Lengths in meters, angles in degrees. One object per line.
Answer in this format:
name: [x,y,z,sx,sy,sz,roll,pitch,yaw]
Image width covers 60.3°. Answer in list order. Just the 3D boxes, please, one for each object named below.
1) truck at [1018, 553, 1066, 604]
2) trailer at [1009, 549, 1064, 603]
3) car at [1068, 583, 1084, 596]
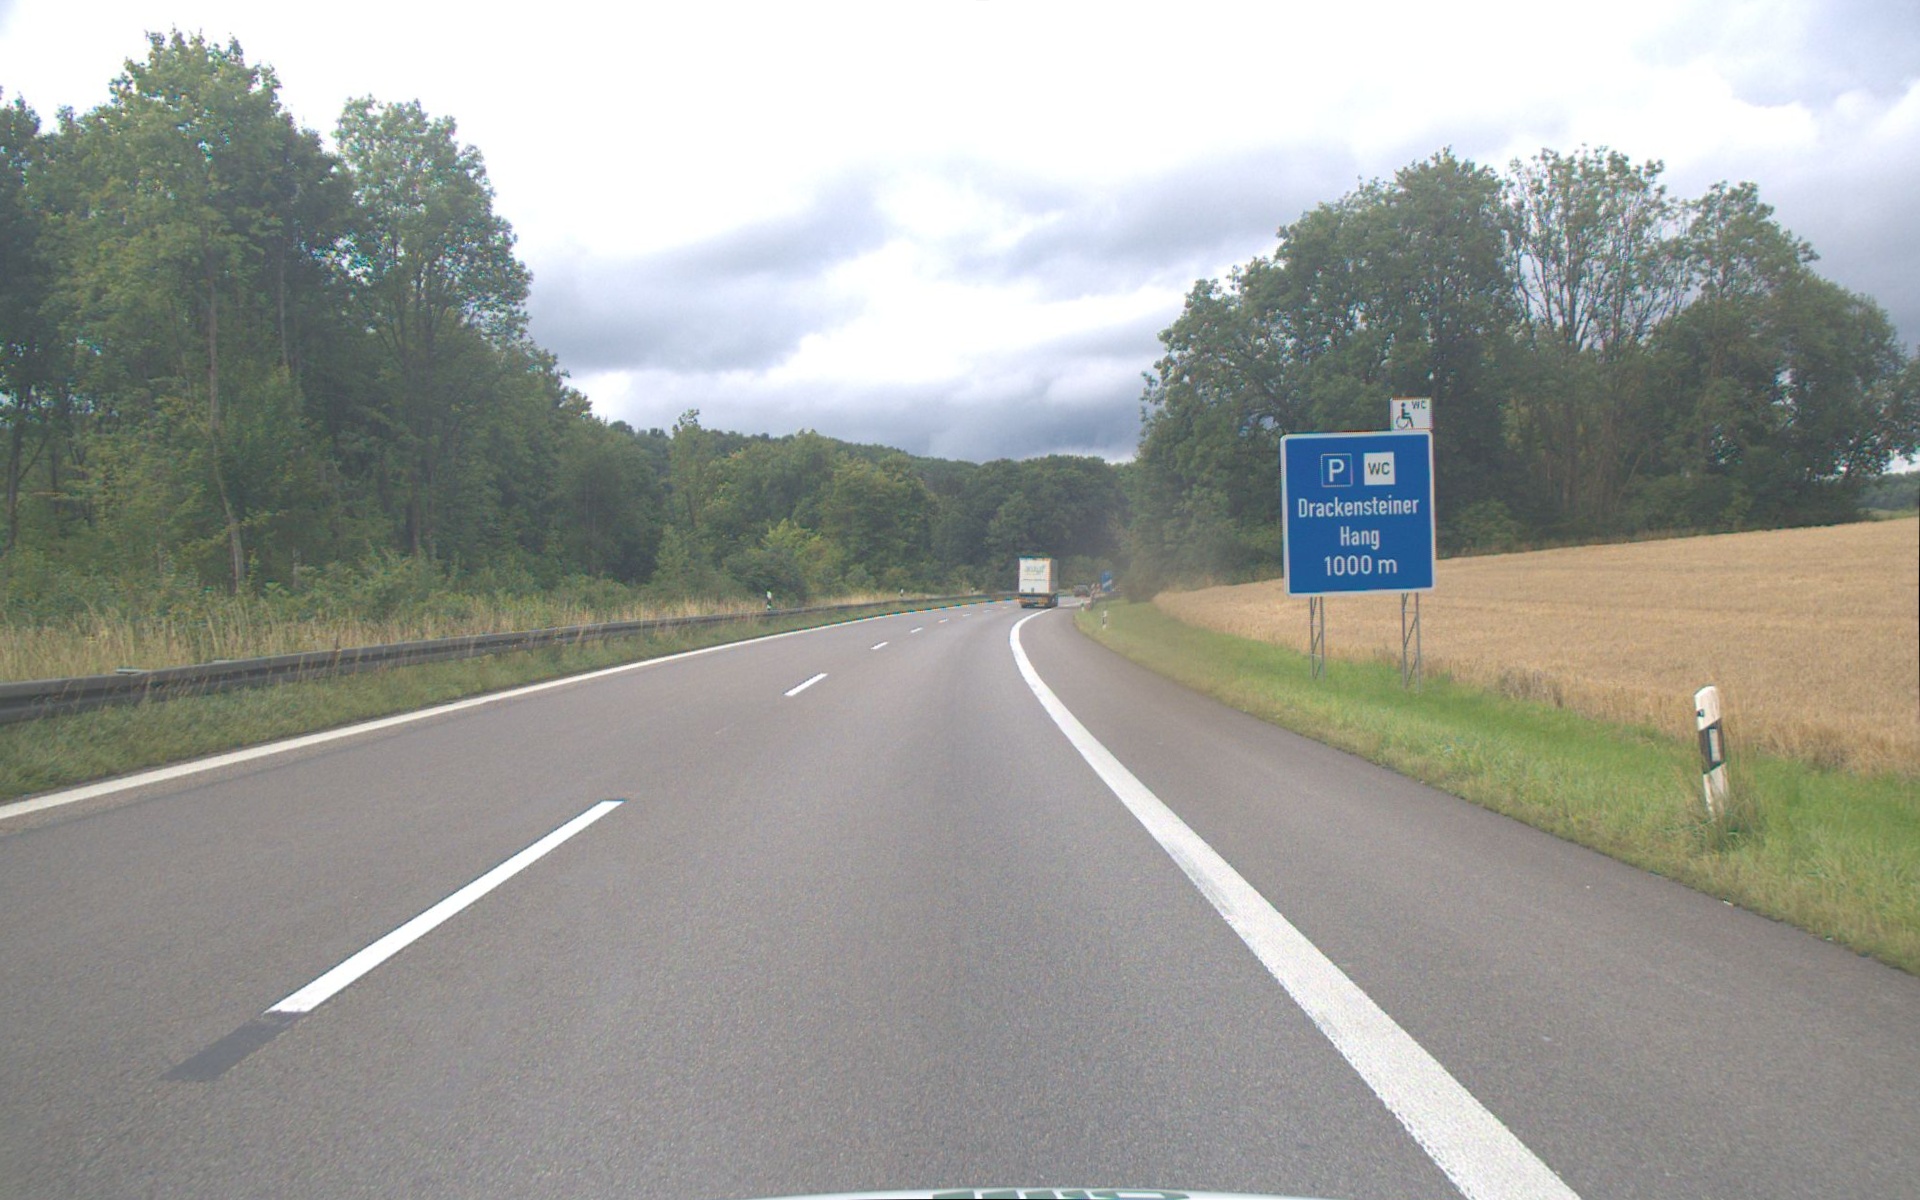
truck: [7.293,-1.819,145.654,3.707,4.204,8.269,1,0,6]
trailer: [6.556,-1.877,138.655,3.725,4.247,14.818,1,0,6]
car: [16.019,-1.439,227.978,1.862,1.826,4.003,1,0,8]
